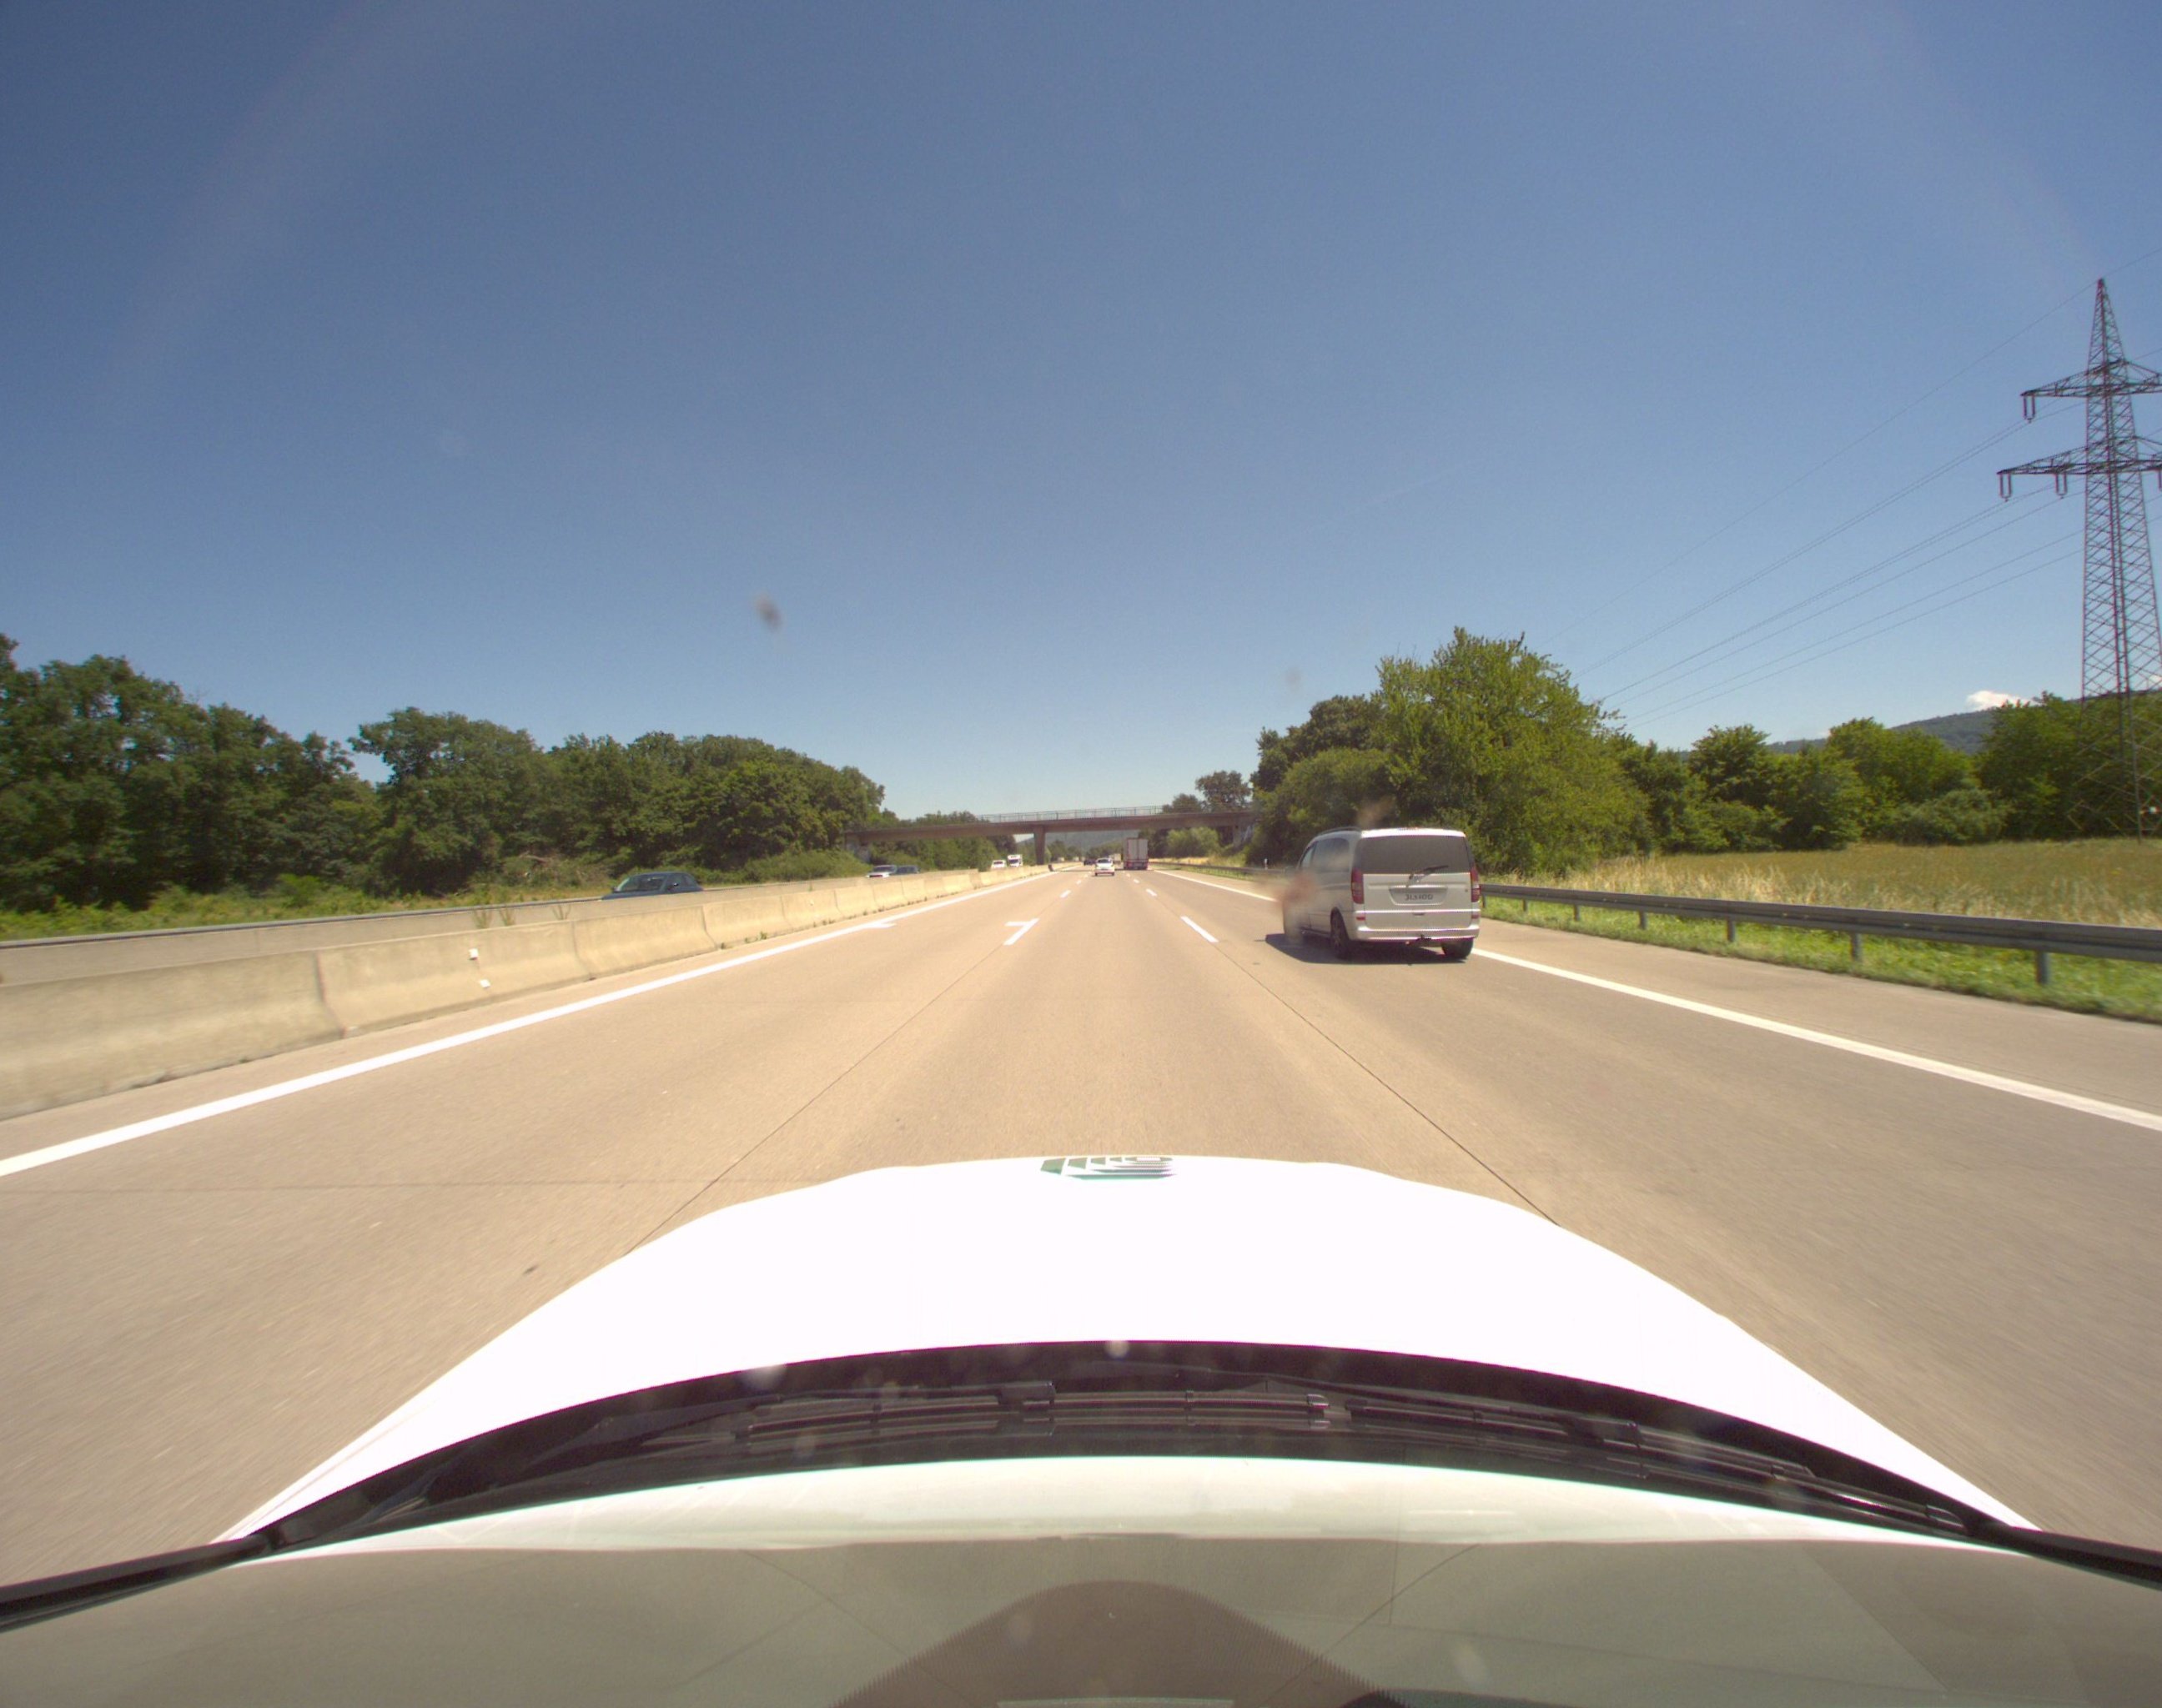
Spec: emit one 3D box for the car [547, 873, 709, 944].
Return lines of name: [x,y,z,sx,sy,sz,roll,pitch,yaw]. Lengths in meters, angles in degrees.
car: [-11.796,1.351,21.579,1.681,1.544,4.340,-2,0,2]

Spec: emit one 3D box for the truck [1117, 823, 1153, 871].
truck: [6.935,-0.818,107.765,3.565,5.787,18.245,-2,0,0]

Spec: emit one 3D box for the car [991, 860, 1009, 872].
car: [-11.787,1.698,118.875,1.820,1.718,5.794,-2,0,1]

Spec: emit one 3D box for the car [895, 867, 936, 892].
car: [-11.068,1.682,54.628,1.750,1.496,4.081,-2,0,1]

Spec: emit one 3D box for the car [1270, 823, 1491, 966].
car: [4.640,0.547,13.597,1.872,1.889,5.282,-1,0,2]

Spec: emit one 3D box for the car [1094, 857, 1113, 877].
car: [1.947,1.120,70.823,1.635,1.662,3.361,0,0,2]

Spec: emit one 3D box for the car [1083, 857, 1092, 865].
car: [1.433,1.598,178.438,2.016,1.700,3.998,0,-1,-1]

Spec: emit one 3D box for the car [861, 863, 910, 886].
car: [-14.818,1.525,62.041,2.058,1.496,6.137,-2,0,1]

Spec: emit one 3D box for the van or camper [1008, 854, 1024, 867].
van or camper: [-12.219,1.218,153.351,2.240,2.443,7.804,0,0,1]
